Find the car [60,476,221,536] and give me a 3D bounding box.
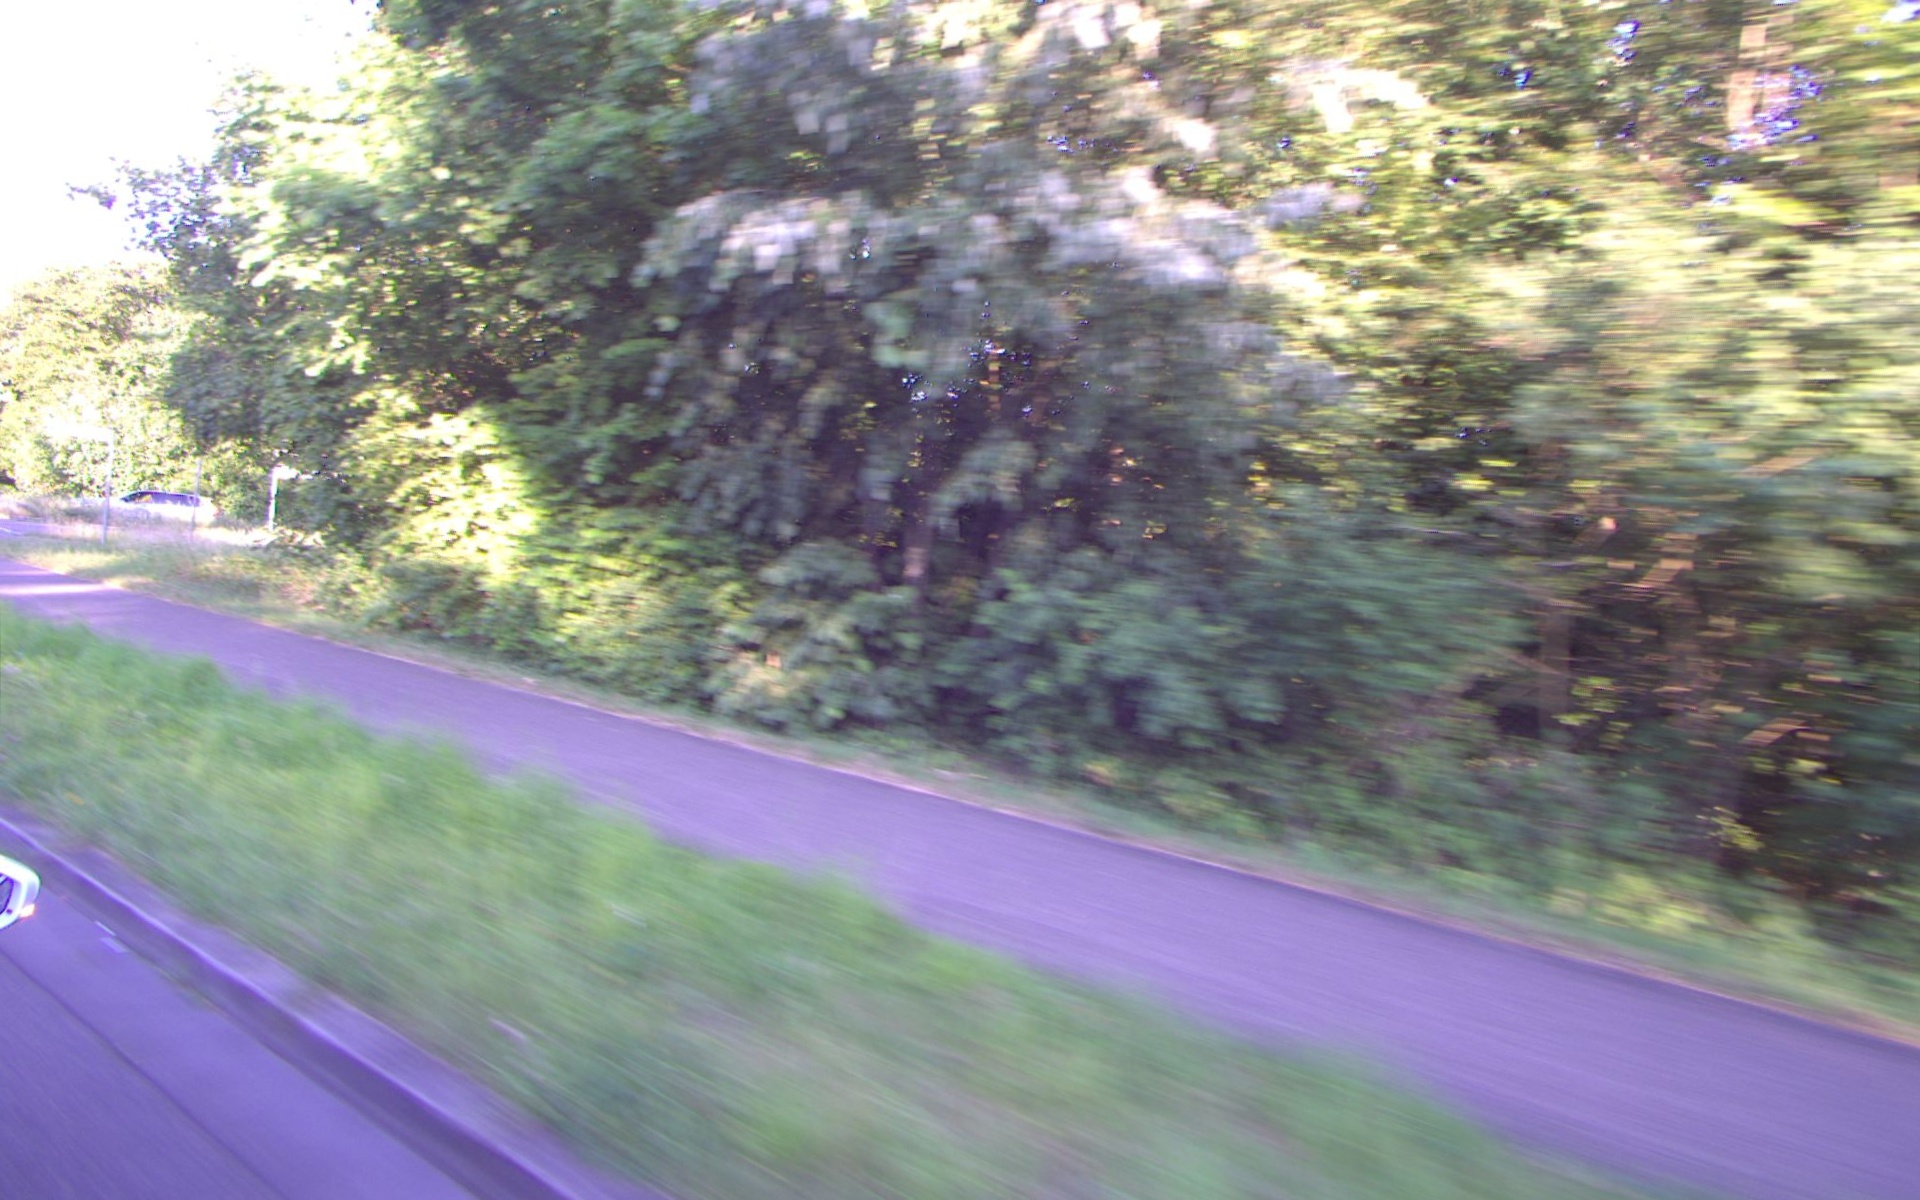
[{"bbox_3d":[-32.966,-3.749,40.680,4.786,1.618,1.981,7,0,-35],"label":"car"}]
